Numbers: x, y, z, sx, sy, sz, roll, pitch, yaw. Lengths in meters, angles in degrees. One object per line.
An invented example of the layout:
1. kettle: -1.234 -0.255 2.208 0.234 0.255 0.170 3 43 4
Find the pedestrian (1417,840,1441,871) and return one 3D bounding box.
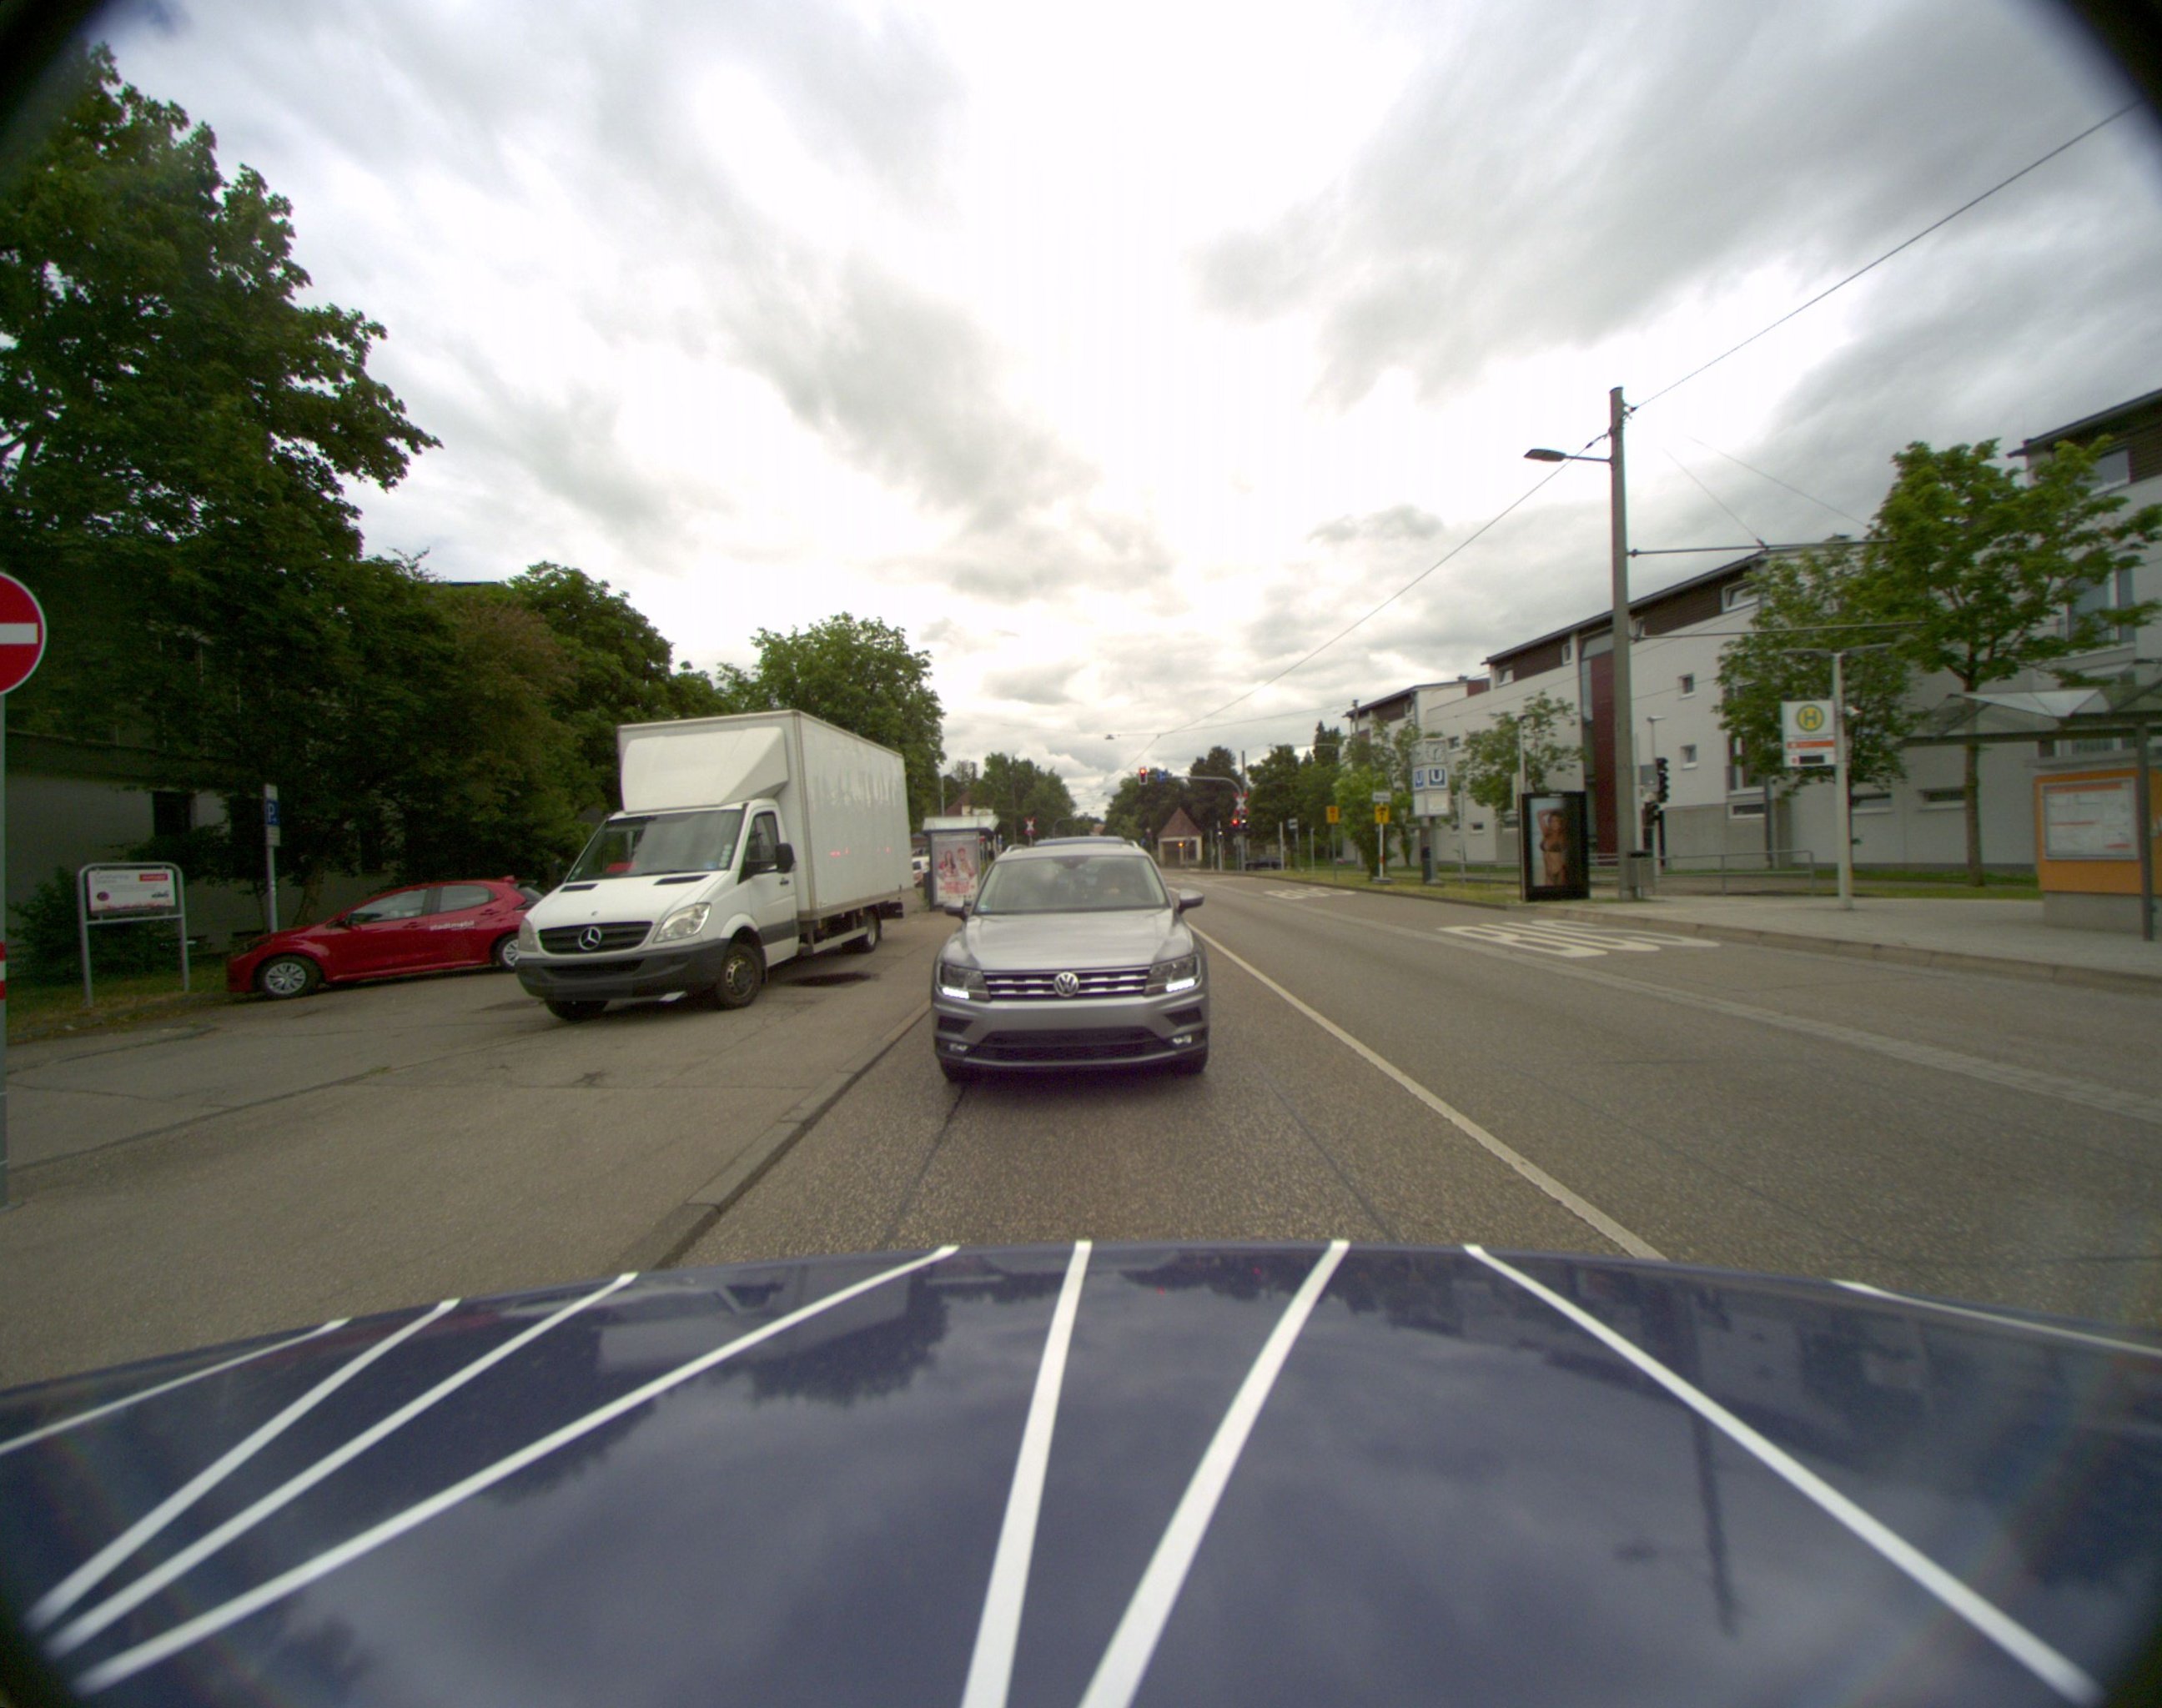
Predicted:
1. pedestrian: 18.183 0.089 39.697 0.782 1.586 0.780 -2 1 -8

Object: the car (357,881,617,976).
1. car: -12.050 1.446 15.779 4.005 1.402 1.521 -5 2 -31

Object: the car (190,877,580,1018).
1. car: -10.077 1.268 11.451 3.902 1.475 1.680 -5 2 -24

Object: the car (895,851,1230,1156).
1. car: -0.073 0.830 6.416 1.811 1.638 4.330 -2 0 1

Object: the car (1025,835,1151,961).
1. car: 0.132 0.663 13.609 1.849 1.850 4.000 -2 0 1

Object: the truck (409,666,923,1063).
1. truck: -4.469 0.047 10.585 2.541 3.407 7.775 -2 1 2

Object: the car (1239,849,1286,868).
1. car: 17.600 0.430 73.887 3.998 1.696 1.928 -2 1 -3
